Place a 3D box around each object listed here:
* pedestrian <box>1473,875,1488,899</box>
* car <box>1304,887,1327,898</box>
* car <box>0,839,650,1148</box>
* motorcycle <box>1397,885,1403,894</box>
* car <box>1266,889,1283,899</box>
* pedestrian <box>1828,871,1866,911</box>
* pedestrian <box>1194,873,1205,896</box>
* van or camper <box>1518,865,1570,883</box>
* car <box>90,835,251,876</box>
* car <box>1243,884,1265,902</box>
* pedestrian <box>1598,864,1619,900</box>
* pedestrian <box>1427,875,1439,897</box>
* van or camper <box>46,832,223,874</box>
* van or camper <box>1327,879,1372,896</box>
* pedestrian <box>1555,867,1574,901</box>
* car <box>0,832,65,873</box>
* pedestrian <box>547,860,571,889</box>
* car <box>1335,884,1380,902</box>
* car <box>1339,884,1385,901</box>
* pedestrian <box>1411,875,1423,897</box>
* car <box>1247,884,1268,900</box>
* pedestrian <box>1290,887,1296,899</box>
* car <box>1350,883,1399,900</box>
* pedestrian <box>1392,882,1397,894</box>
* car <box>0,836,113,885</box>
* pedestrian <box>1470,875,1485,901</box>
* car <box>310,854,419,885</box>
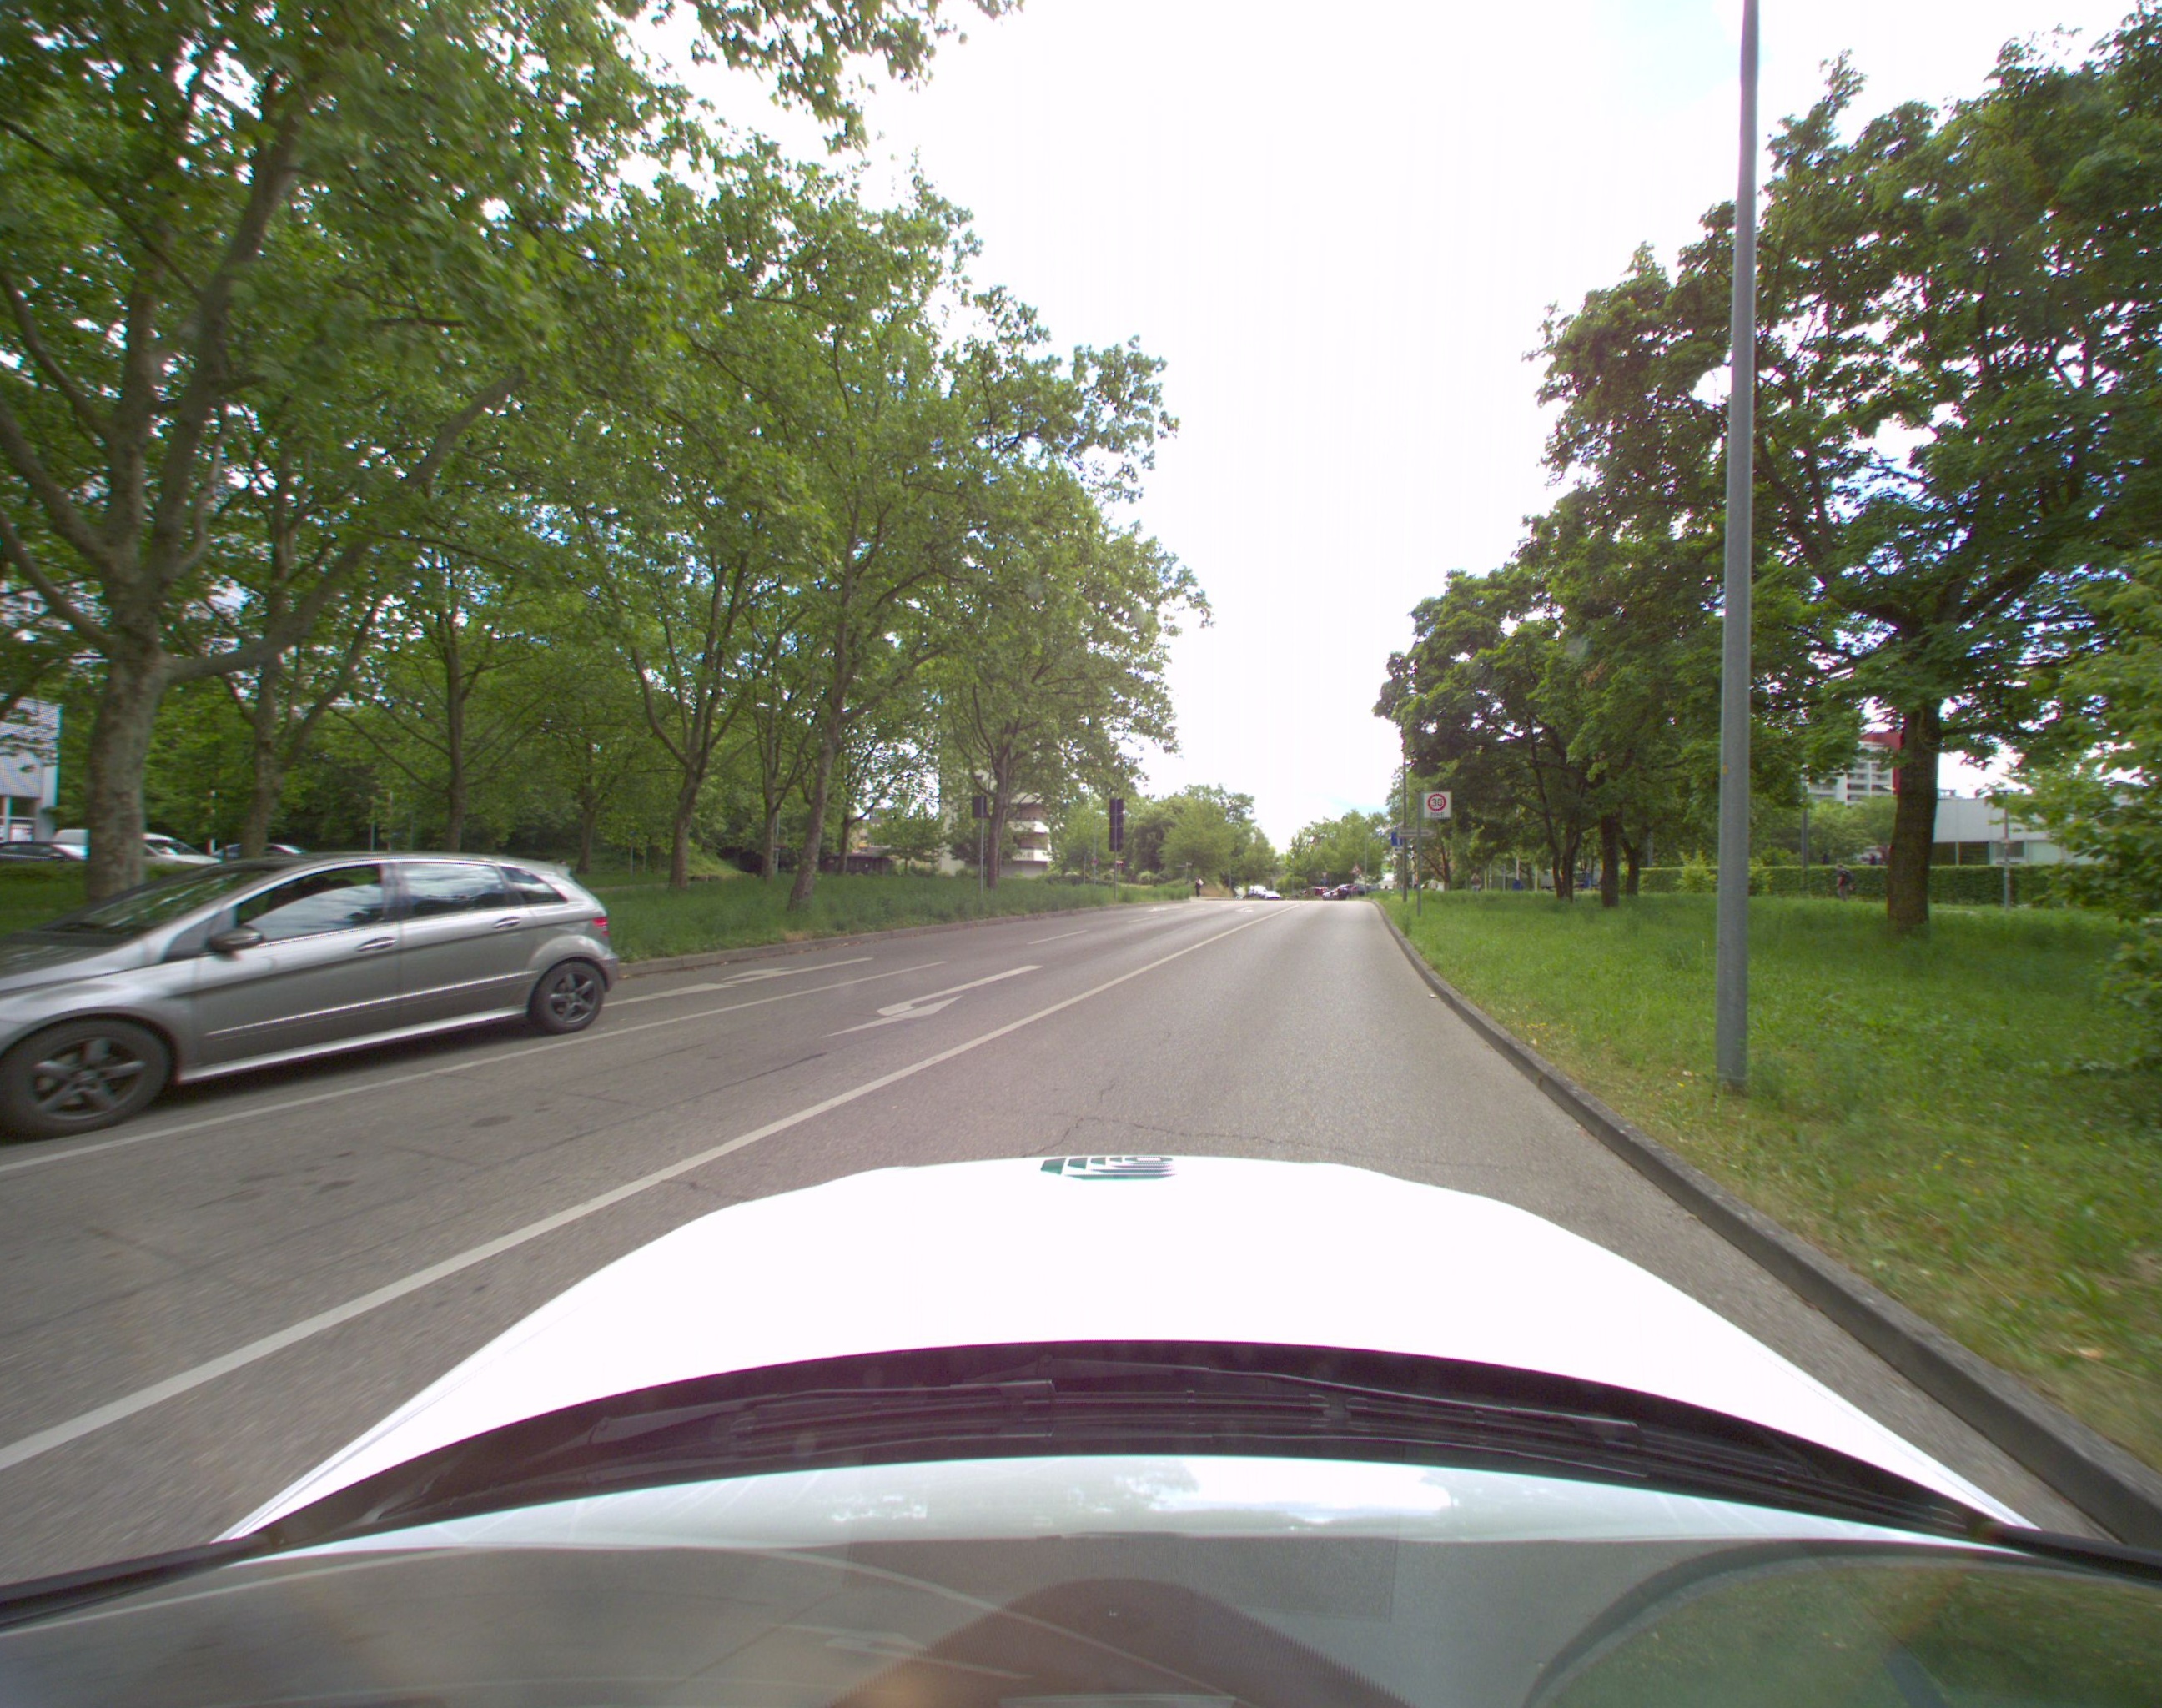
[{"bbox_3d":[30.078,2.477,61.302,0.827,1.694,0.767,1,-1,-42],"label":"pedestrian"},{"bbox_3d":[39.559,6.513,137.388,3.517,1.654,1.626,1,-2,11],"label":"car"},{"bbox_3d":[-5.764,0.735,6.073,1.752,1.586,4.434,-1,-1,21],"label":"car"},{"bbox_3d":[29.944,3.370,76.452,0.449,0.794,1.270,-1,-1,22],"label":"motorcycle"},{"bbox_3d":[27.964,5.820,117.821,1.963,1.464,3.943,0,-3,8],"label":"car"},{"bbox_3d":[28.764,1.381,30.580,0.832,1.452,0.695,1,0,-11],"label":"pedestrian"},{"bbox_3d":[9.232,2.361,63.410,0.815,1.723,0.779,0,-1,9],"label":"pedestrian"},{"bbox_3d":[50.721,2.207,89.310,1.781,1.914,4.631,0,-1,-42],"label":"van or camper"},{"bbox_3d":[-33.426,0.057,29.995,3.877,1.465,1.480,0,-1,-9],"label":"car"},{"bbox_3d":[16.050,3.593,75.469,1.752,1.500,3.951,-1,-2,16],"label":"car"},{"bbox_3d":[25.299,1.333,39.087,0.767,1.723,0.828,0,-1,38],"label":"pedestrian"},{"bbox_3d":[27.624,2.493,63.862,0.794,1.723,0.827,0,-1,20],"label":"pedestrian"},{"bbox_3d":[-31.990,-0.046,27.634,3.764,1.356,1.512,0,-1,-11],"label":"van or camper"},{"bbox_3d":[30.262,3.752,91.826,4.642,1.870,1.777,-1,-1,11],"label":"van or camper"},{"bbox_3d":[25.159,1.557,42.368,0.767,1.723,0.828,0,-1,35],"label":"pedestrian"},{"bbox_3d":[-44.074,-0.086,32.769,3.807,1.634,1.668,1,-1,-8],"label":"car"},{"bbox_3d":[-35.460,1.394,55.379,0.984,1.951,1.079,2,-2,-13],"label":"pedestrian"},{"bbox_3d":[25.651,3.623,75.608,3.890,1.631,1.779,-1,-5,19],"label":"car"},{"bbox_3d":[25.134,3.448,72.897,3.890,1.501,1.779,-1,-5,19],"label":"car"},{"bbox_3d":[26.499,2.505,64.248,0.767,1.723,0.828,0,-1,27],"label":"pedestrian"},{"bbox_3d":[17.448,3.750,80.265,1.752,1.501,3.950,-1,-2,16],"label":"car"},{"bbox_3d":[33.510,6.207,128.746,0.717,1.865,0.652,-1,-1,8],"label":"pedestrian"},{"bbox_3d":[25.382,3.245,70.449,3.890,1.469,1.779,-1,-5,19],"label":"car"},{"bbox_3d":[29.535,3.179,76.778,0.392,1.152,0.487,0,-1,22],"label":"pedestrian"},{"bbox_3d":[-31.613,0.207,24.281,3.394,1.404,1.481,0,-1,-7],"label":"car"},{"bbox_3d":[24.289,2.082,49.899,0.767,1.596,0.828,-1,-1,26],"label":"pedestrian"},{"bbox_3d":[-35.598,0.752,40.543,3.725,1.500,1.731,0,-1,-4],"label":"car"}]
